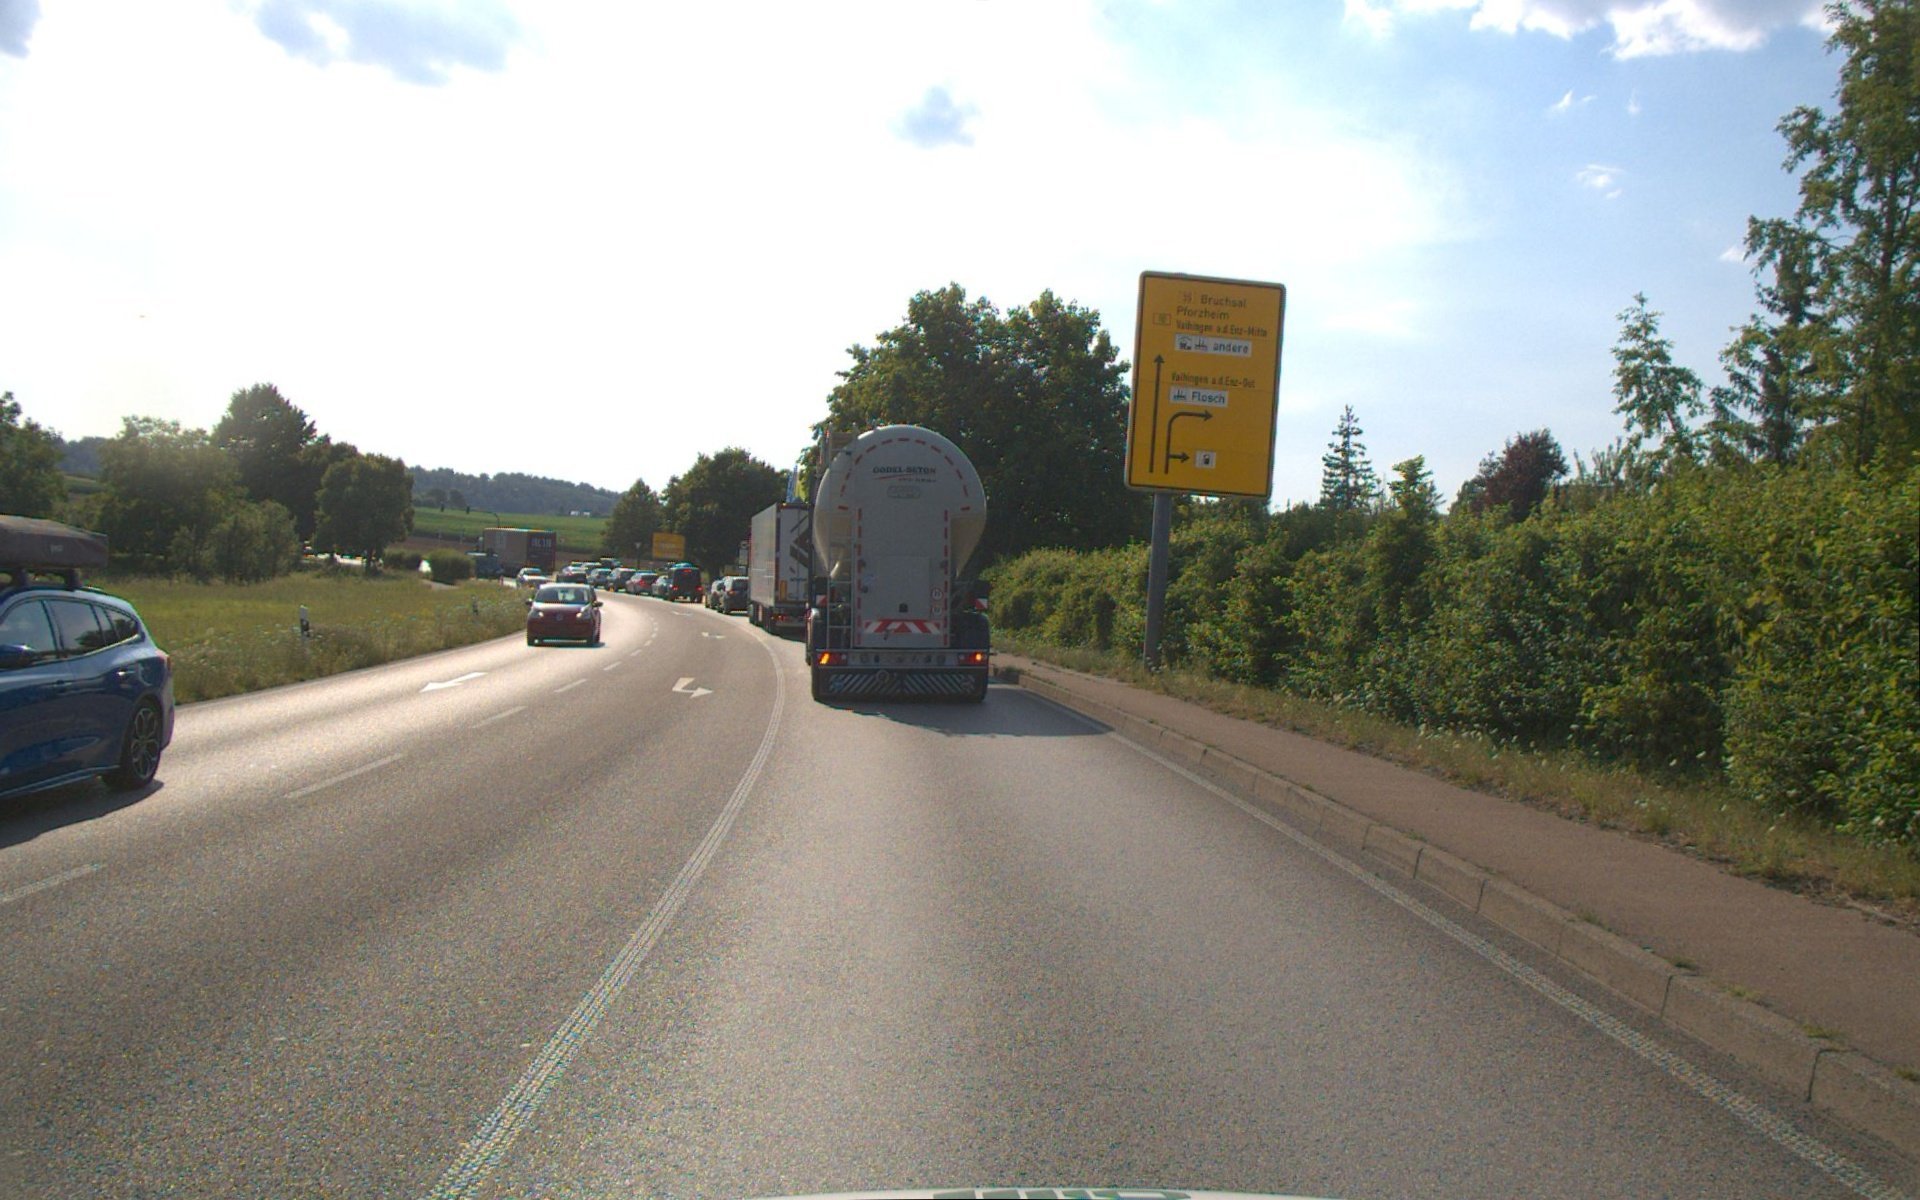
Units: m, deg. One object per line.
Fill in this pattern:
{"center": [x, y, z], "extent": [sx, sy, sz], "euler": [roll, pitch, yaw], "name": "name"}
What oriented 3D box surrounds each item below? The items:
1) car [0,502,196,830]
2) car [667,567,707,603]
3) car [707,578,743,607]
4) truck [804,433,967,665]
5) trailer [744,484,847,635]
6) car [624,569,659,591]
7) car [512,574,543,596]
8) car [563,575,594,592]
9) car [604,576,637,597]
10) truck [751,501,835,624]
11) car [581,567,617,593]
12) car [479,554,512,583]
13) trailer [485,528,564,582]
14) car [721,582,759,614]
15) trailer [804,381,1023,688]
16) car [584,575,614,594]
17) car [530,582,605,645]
{"center": [-6.539, 0.380, 10.517], "extent": [1.691, 1.915, 4.331], "euler": [0, 1, -5], "name": "car"}
{"center": [-16.224, -0.898, 98.204], "extent": [1.832, 2.049, 3.702], "euler": [1, 1, -17], "name": "car"}
{"center": [-11.987, -0.399, 84.216], "extent": [1.552, 1.364, 3.415], "euler": [2, 0, -12], "name": "car"}
{"center": [-1.514, -0.921, 31.565], "extent": [2.853, 4.076, 4.055], "euler": [1, 0, -6], "name": "truck"}
{"center": [-5.667, -1.296, 56.401], "extent": [2.898, 4.390, 14.156], "euler": [2, 0, -6], "name": "trailer"}
{"center": [-21.545, -1.365, 111.905], "extent": [1.559, 1.364, 3.400], "euler": [2, 0, -24], "name": "car"}
{"center": [-29.760, -1.069, 113.792], "extent": [1.682, 1.453, 4.153], "euler": [1, 0, -20], "name": "car"}
{"center": [-30.372, -1.293, 131.567], "extent": [1.746, 1.227, 3.400], "euler": [2, 0, -24], "name": "car"}
{"center": [-24.193, -0.957, 117.848], "extent": [1.559, 1.364, 3.400], "euler": [2, 0, -24], "name": "car"}
{"center": [-6.386, -1.392, 62.937], "extent": [2.895, 4.378, 4.924], "euler": [2, 0, -7], "name": "truck"}
{"center": [-30.522, -1.690, 139.712], "extent": [1.971, 2.048, 3.964], "euler": [1, 2, -28], "name": "car"}
{"center": [-36.845, -2.492, 131.067], "extent": [1.971, 2.174, 4.747], "euler": [1, 0, -22], "name": "car"}
{"center": [-39.138, -4.045, 148.213], "extent": [3.339, 4.426, 14.154], "euler": [2, 1, -29], "name": "trailer"}
{"center": [-10.136, -0.085, 76.043], "extent": [1.551, 1.364, 3.418], "euler": [2, 0, -10], "name": "car"}
{"center": [-1.079, -0.911, 27.186], "extent": [2.853, 4.076, 9.918], "euler": [1, 0, -6], "name": "trailer"}
{"center": [-27.398, -1.173, 125.524], "extent": [1.559, 1.364, 3.400], "euler": [2, 0, -24], "name": "car"}
{"center": [-9.772, 0.297, 41.334], "extent": [1.556, 1.492, 3.599], "euler": [0, 1, -9], "name": "car"}
